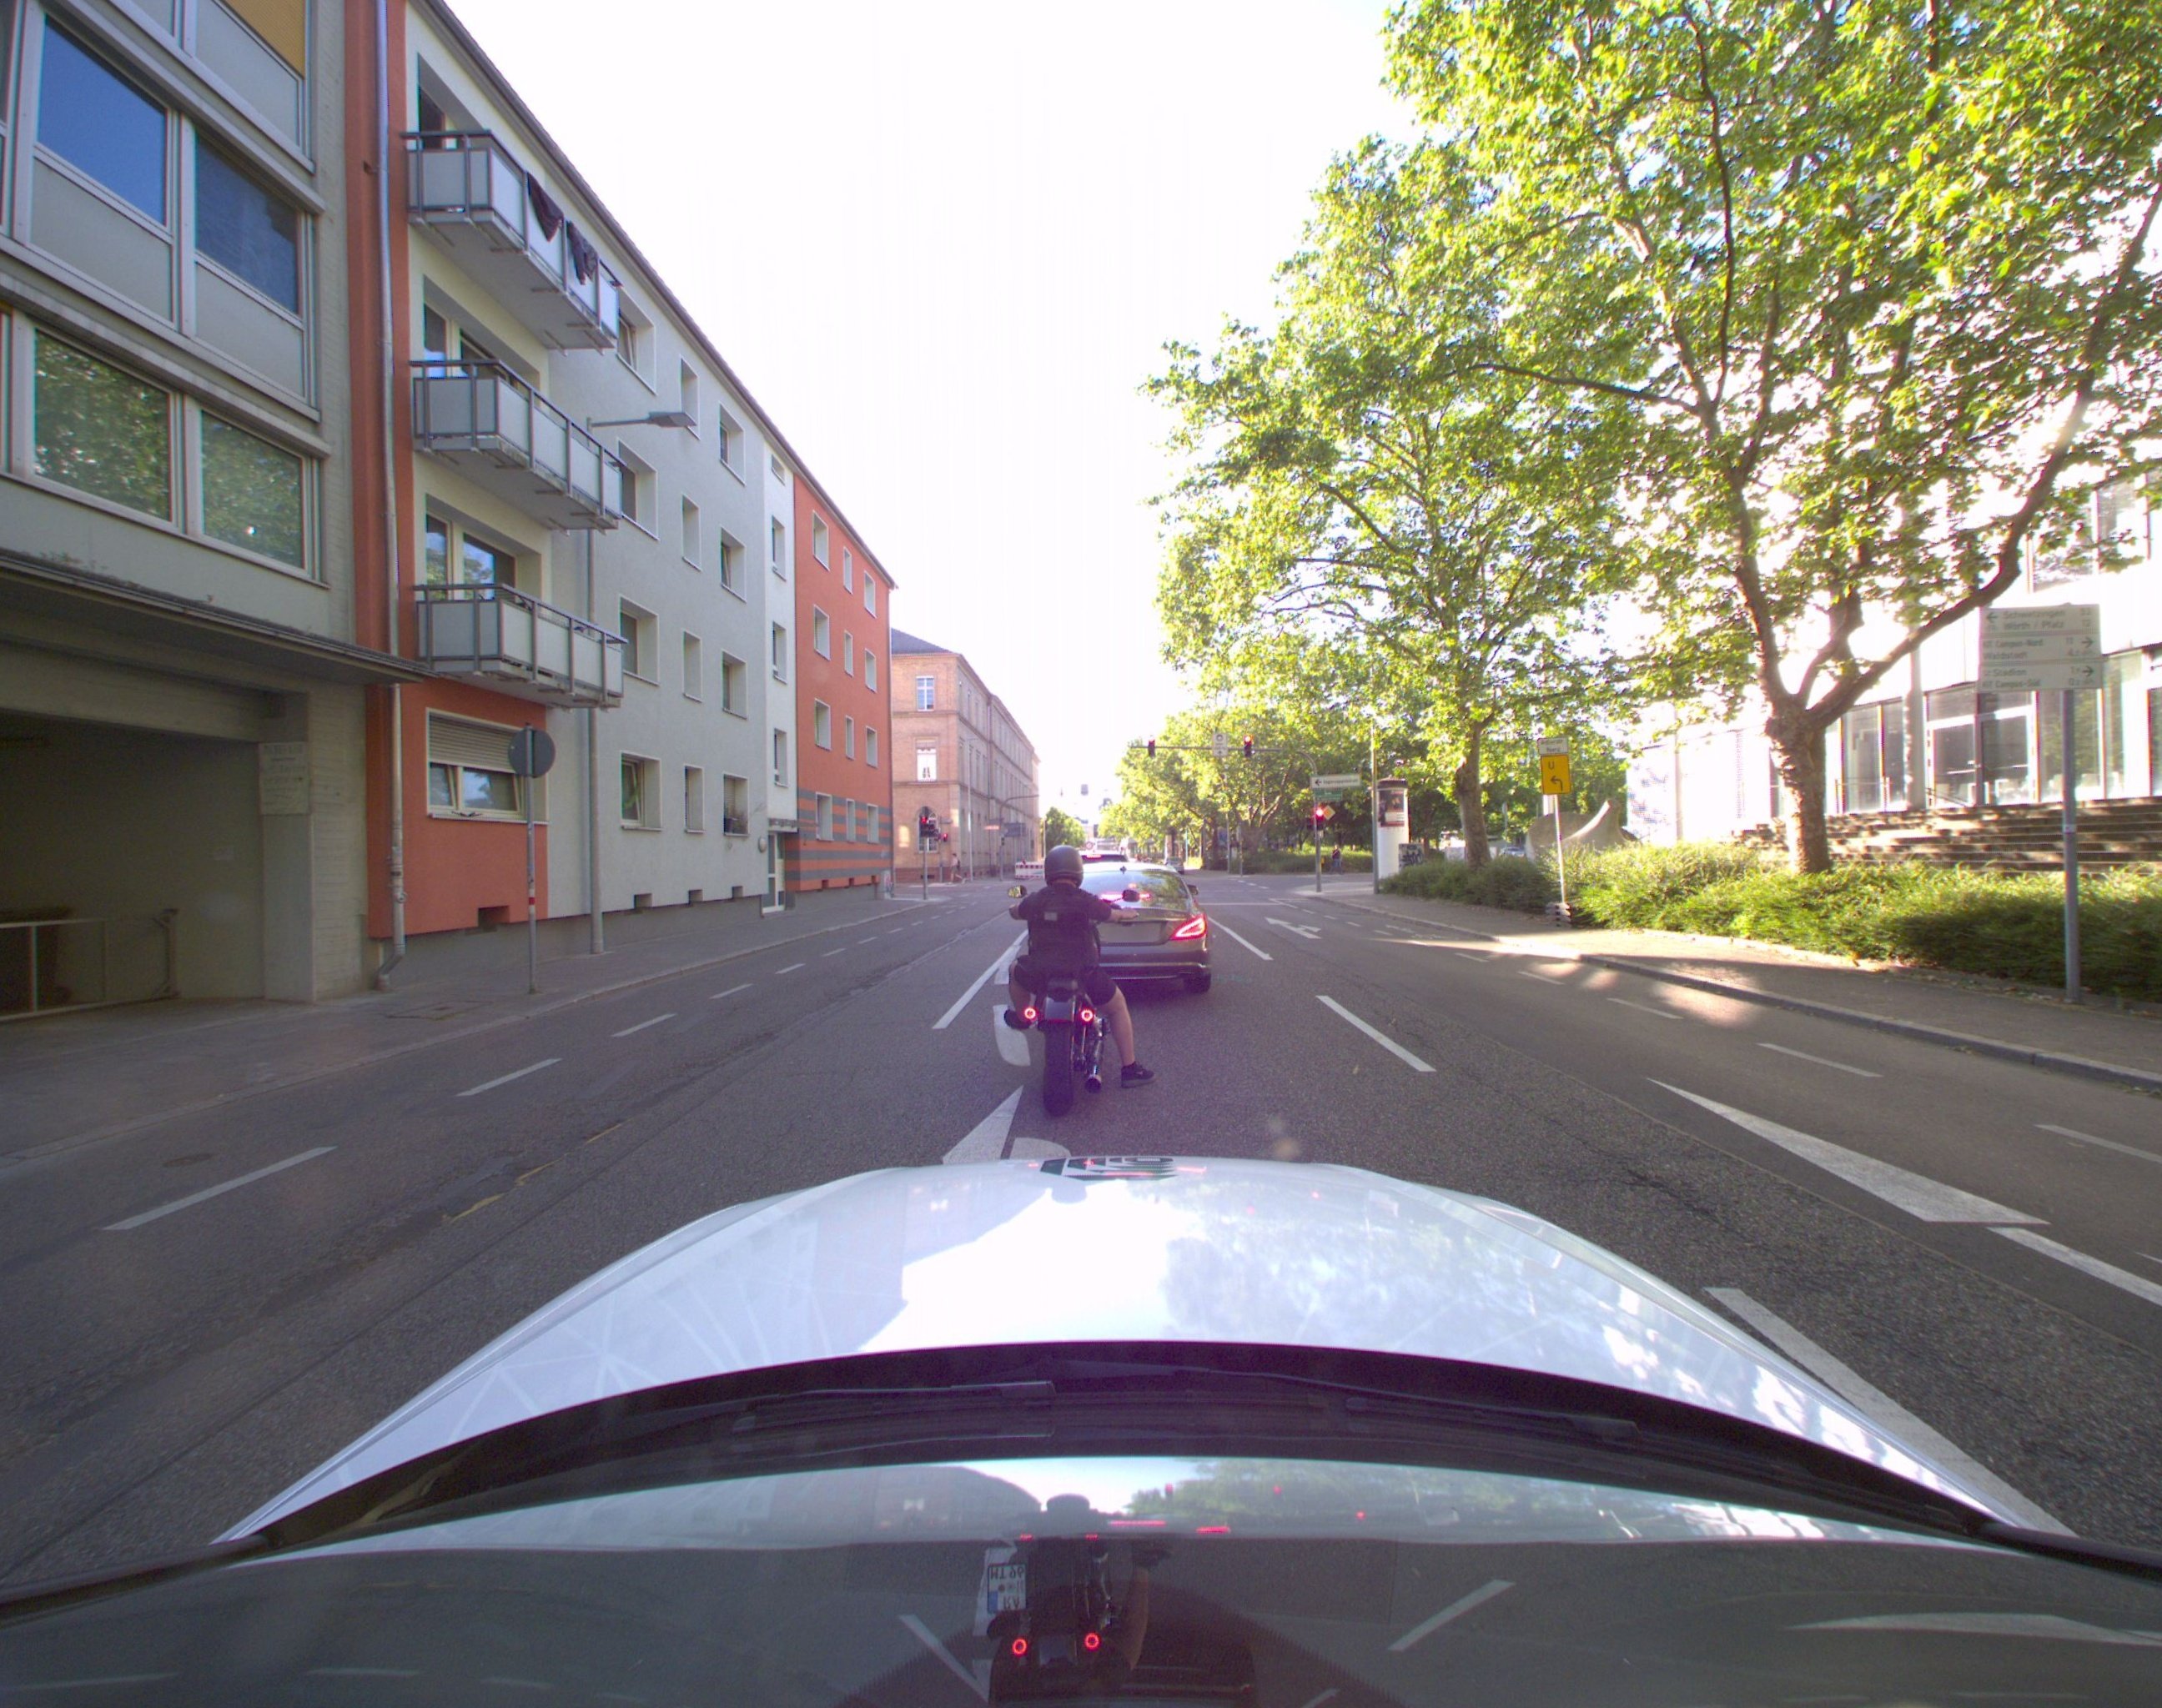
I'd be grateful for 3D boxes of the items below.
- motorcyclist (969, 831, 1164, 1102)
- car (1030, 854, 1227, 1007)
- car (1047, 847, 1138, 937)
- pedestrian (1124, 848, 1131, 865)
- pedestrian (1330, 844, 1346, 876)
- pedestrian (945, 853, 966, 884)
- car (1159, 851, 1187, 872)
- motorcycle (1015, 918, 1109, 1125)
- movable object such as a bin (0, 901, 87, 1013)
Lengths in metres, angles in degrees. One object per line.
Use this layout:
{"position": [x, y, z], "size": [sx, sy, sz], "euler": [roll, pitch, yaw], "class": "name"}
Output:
{"position": [-0.069, 0.674, 5.472], "size": [1.145, 1.598, 1.288], "euler": [0, -1, 1], "class": "motorcyclist"}
{"position": [0.518, 0.741, 9.731], "size": [1.875, 1.449, 3.821], "euler": [0, 0, 2], "class": "car"}
{"position": [0.277, 0.695, 16.859], "size": [1.615, 1.594, 4.002], "euler": [-1, 0, 2], "class": "car"}
{"position": [5.778, 0.281, 100.921], "size": [0.761, 2.051, 0.712], "euler": [0, -1, 1], "class": "pedestrian"}
{"position": [15.813, 0.364, 50.103], "size": [0.916, 1.910, 0.755], "euler": [-1, -1, 14], "class": "pedestrian"}
{"position": [-7.361, 0.840, 47.668], "size": [1.006, 1.826, 1.068], "euler": [0, -1, -22], "class": "pedestrian"}
{"position": [7.352, 0.614, 65.548], "size": [1.845, 1.575, 4.137], "euler": [0, -1, 1], "class": "car"}
{"position": [-0.073, 1.007, 5.519], "size": [0.511, 1.002, 2.014], "euler": [0, -1, 2], "class": "motorcycle"}
{"position": [-11.256, 1.067, 8.635], "size": [0.626, 1.100, 0.659], "euler": [0, -1, 4], "class": "movable object such as a bin"}
